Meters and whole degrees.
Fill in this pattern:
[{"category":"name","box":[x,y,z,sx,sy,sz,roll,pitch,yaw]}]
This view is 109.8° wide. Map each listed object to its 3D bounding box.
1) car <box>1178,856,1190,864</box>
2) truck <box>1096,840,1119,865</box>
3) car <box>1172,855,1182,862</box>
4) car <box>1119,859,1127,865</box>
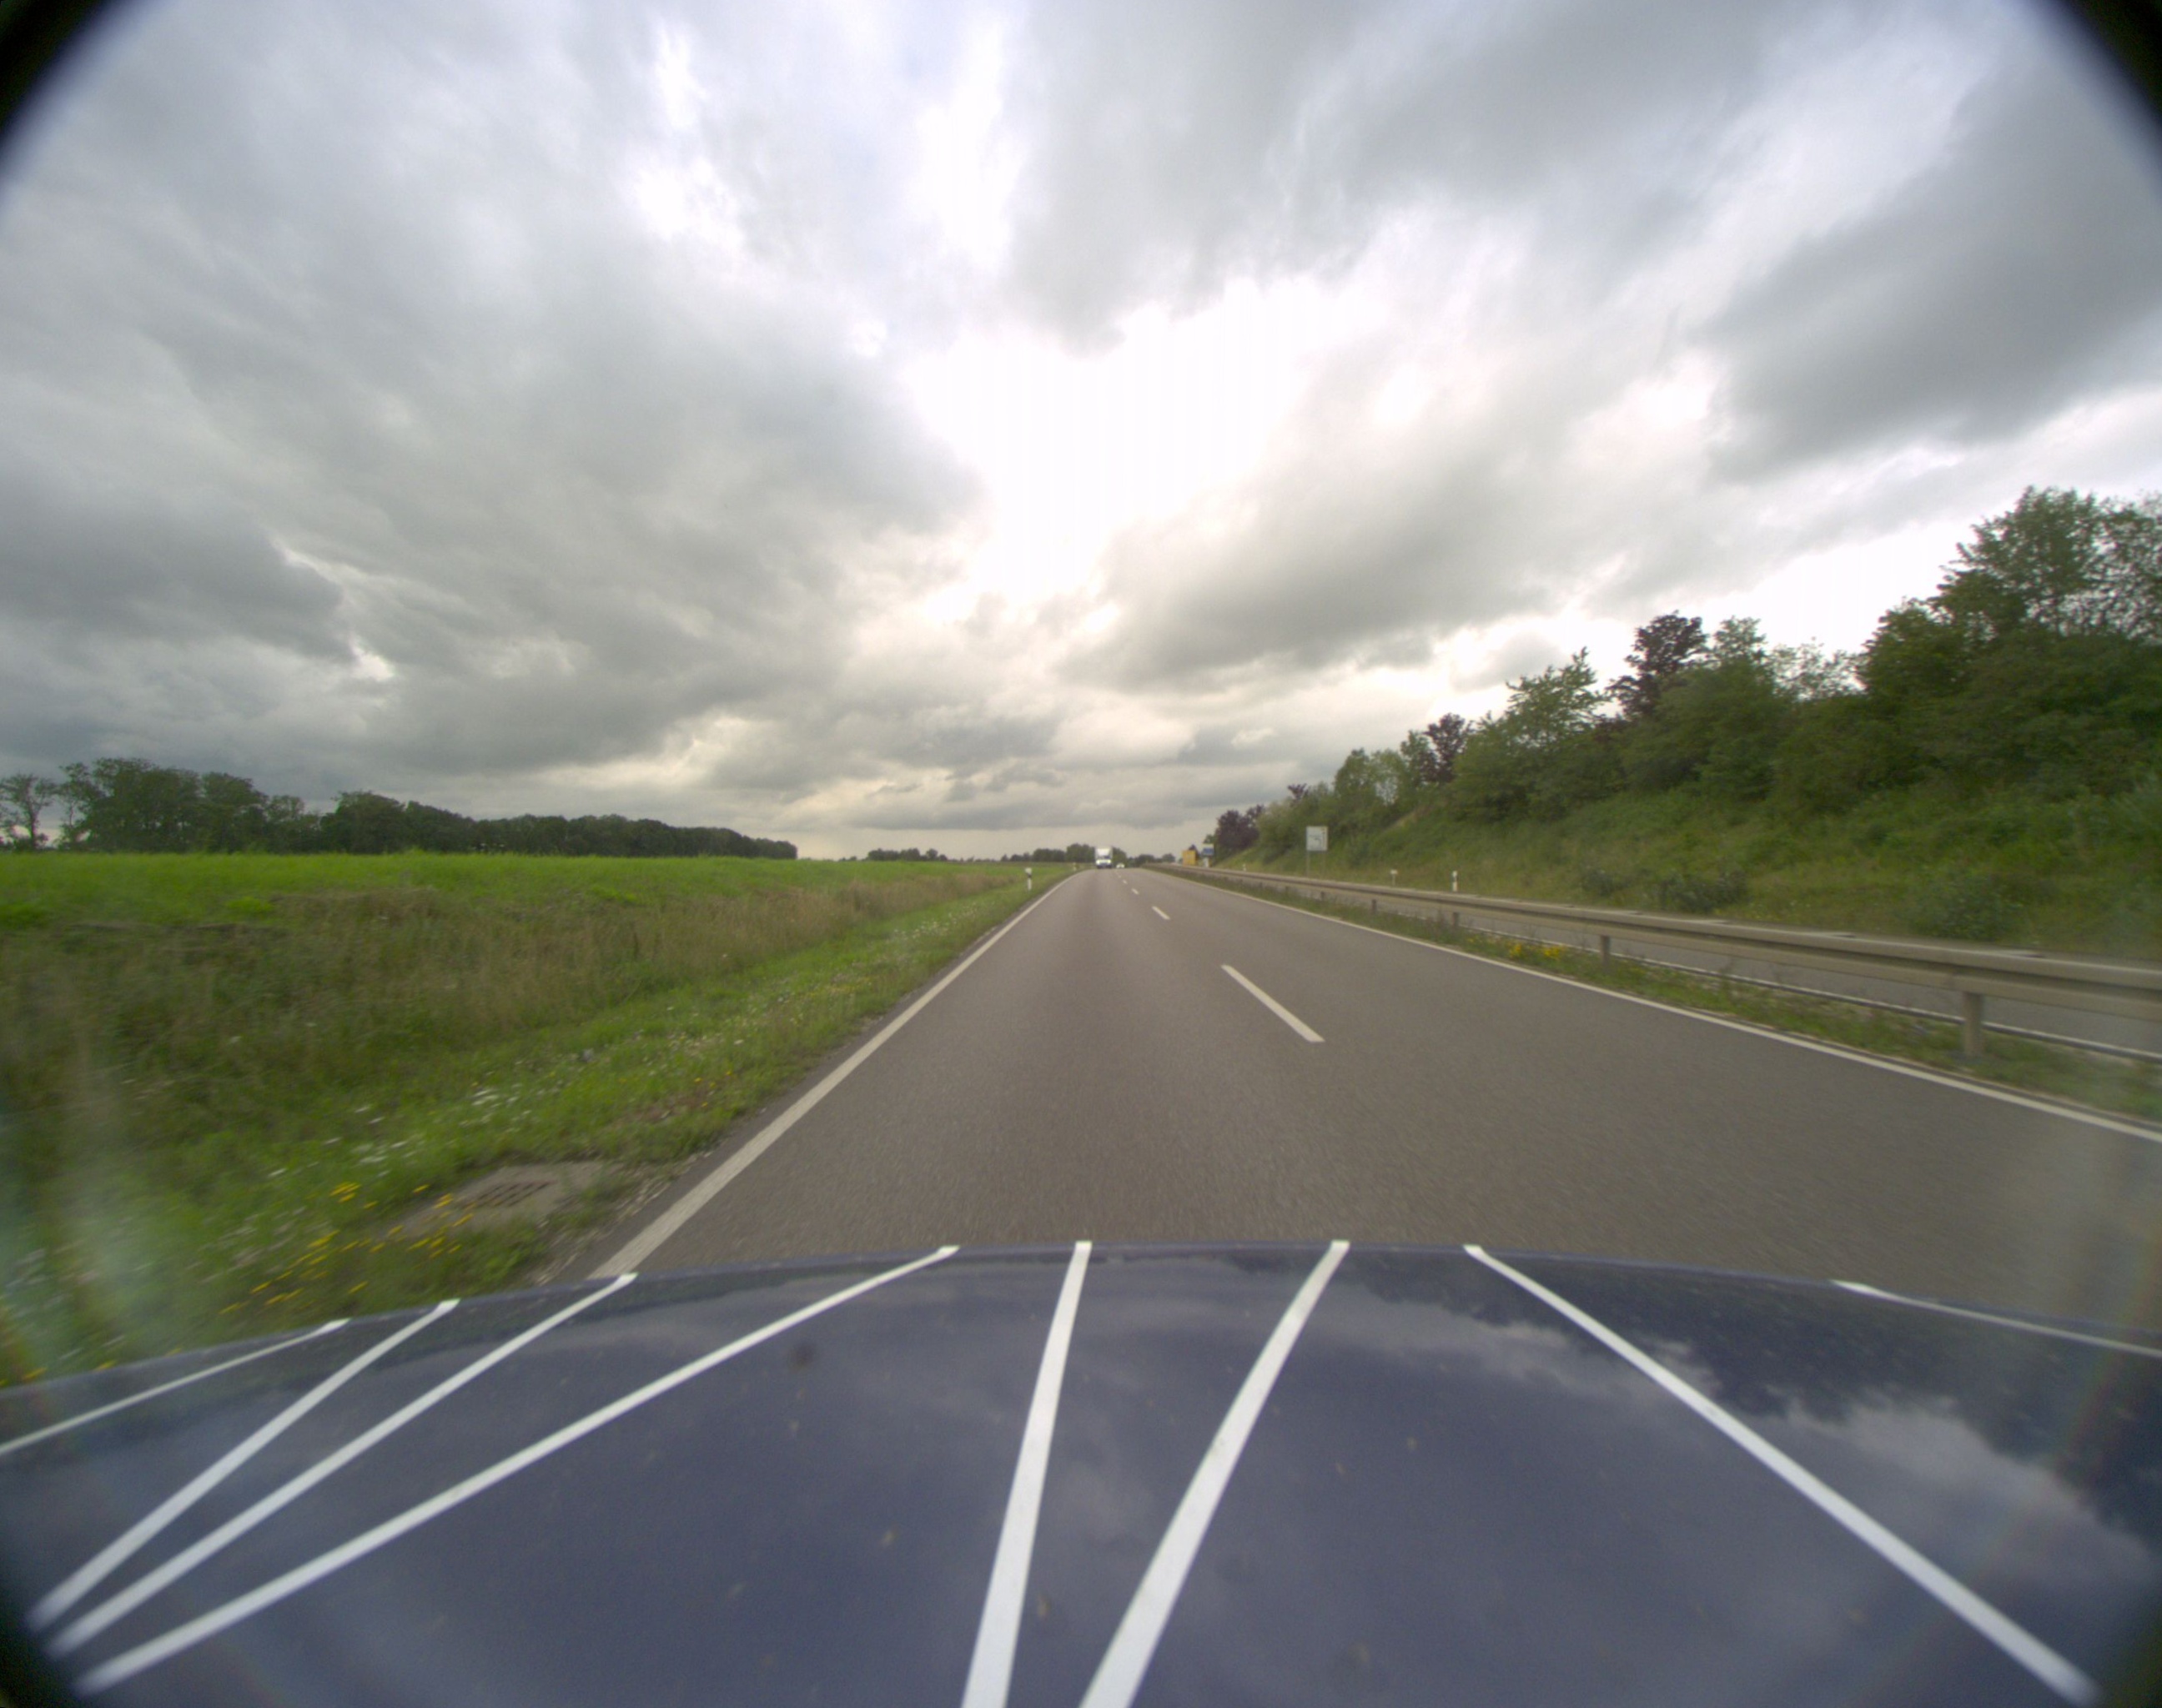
[{"category":"car","box":[21.031,1.295,155.856,1.925,1.508,4.465,0,-2,1]},{"category":"truck","box":[4.192,-0.119,118.018,2.933,3.651,8.449,0,-2,6]},{"category":"car","box":[22.630,1.040,179.611,1.998,1.508,4.990,0,-2,2]},{"category":"car","box":[11.339,2.088,205.128,2.090,1.509,4.196,0,-2,6]}]
